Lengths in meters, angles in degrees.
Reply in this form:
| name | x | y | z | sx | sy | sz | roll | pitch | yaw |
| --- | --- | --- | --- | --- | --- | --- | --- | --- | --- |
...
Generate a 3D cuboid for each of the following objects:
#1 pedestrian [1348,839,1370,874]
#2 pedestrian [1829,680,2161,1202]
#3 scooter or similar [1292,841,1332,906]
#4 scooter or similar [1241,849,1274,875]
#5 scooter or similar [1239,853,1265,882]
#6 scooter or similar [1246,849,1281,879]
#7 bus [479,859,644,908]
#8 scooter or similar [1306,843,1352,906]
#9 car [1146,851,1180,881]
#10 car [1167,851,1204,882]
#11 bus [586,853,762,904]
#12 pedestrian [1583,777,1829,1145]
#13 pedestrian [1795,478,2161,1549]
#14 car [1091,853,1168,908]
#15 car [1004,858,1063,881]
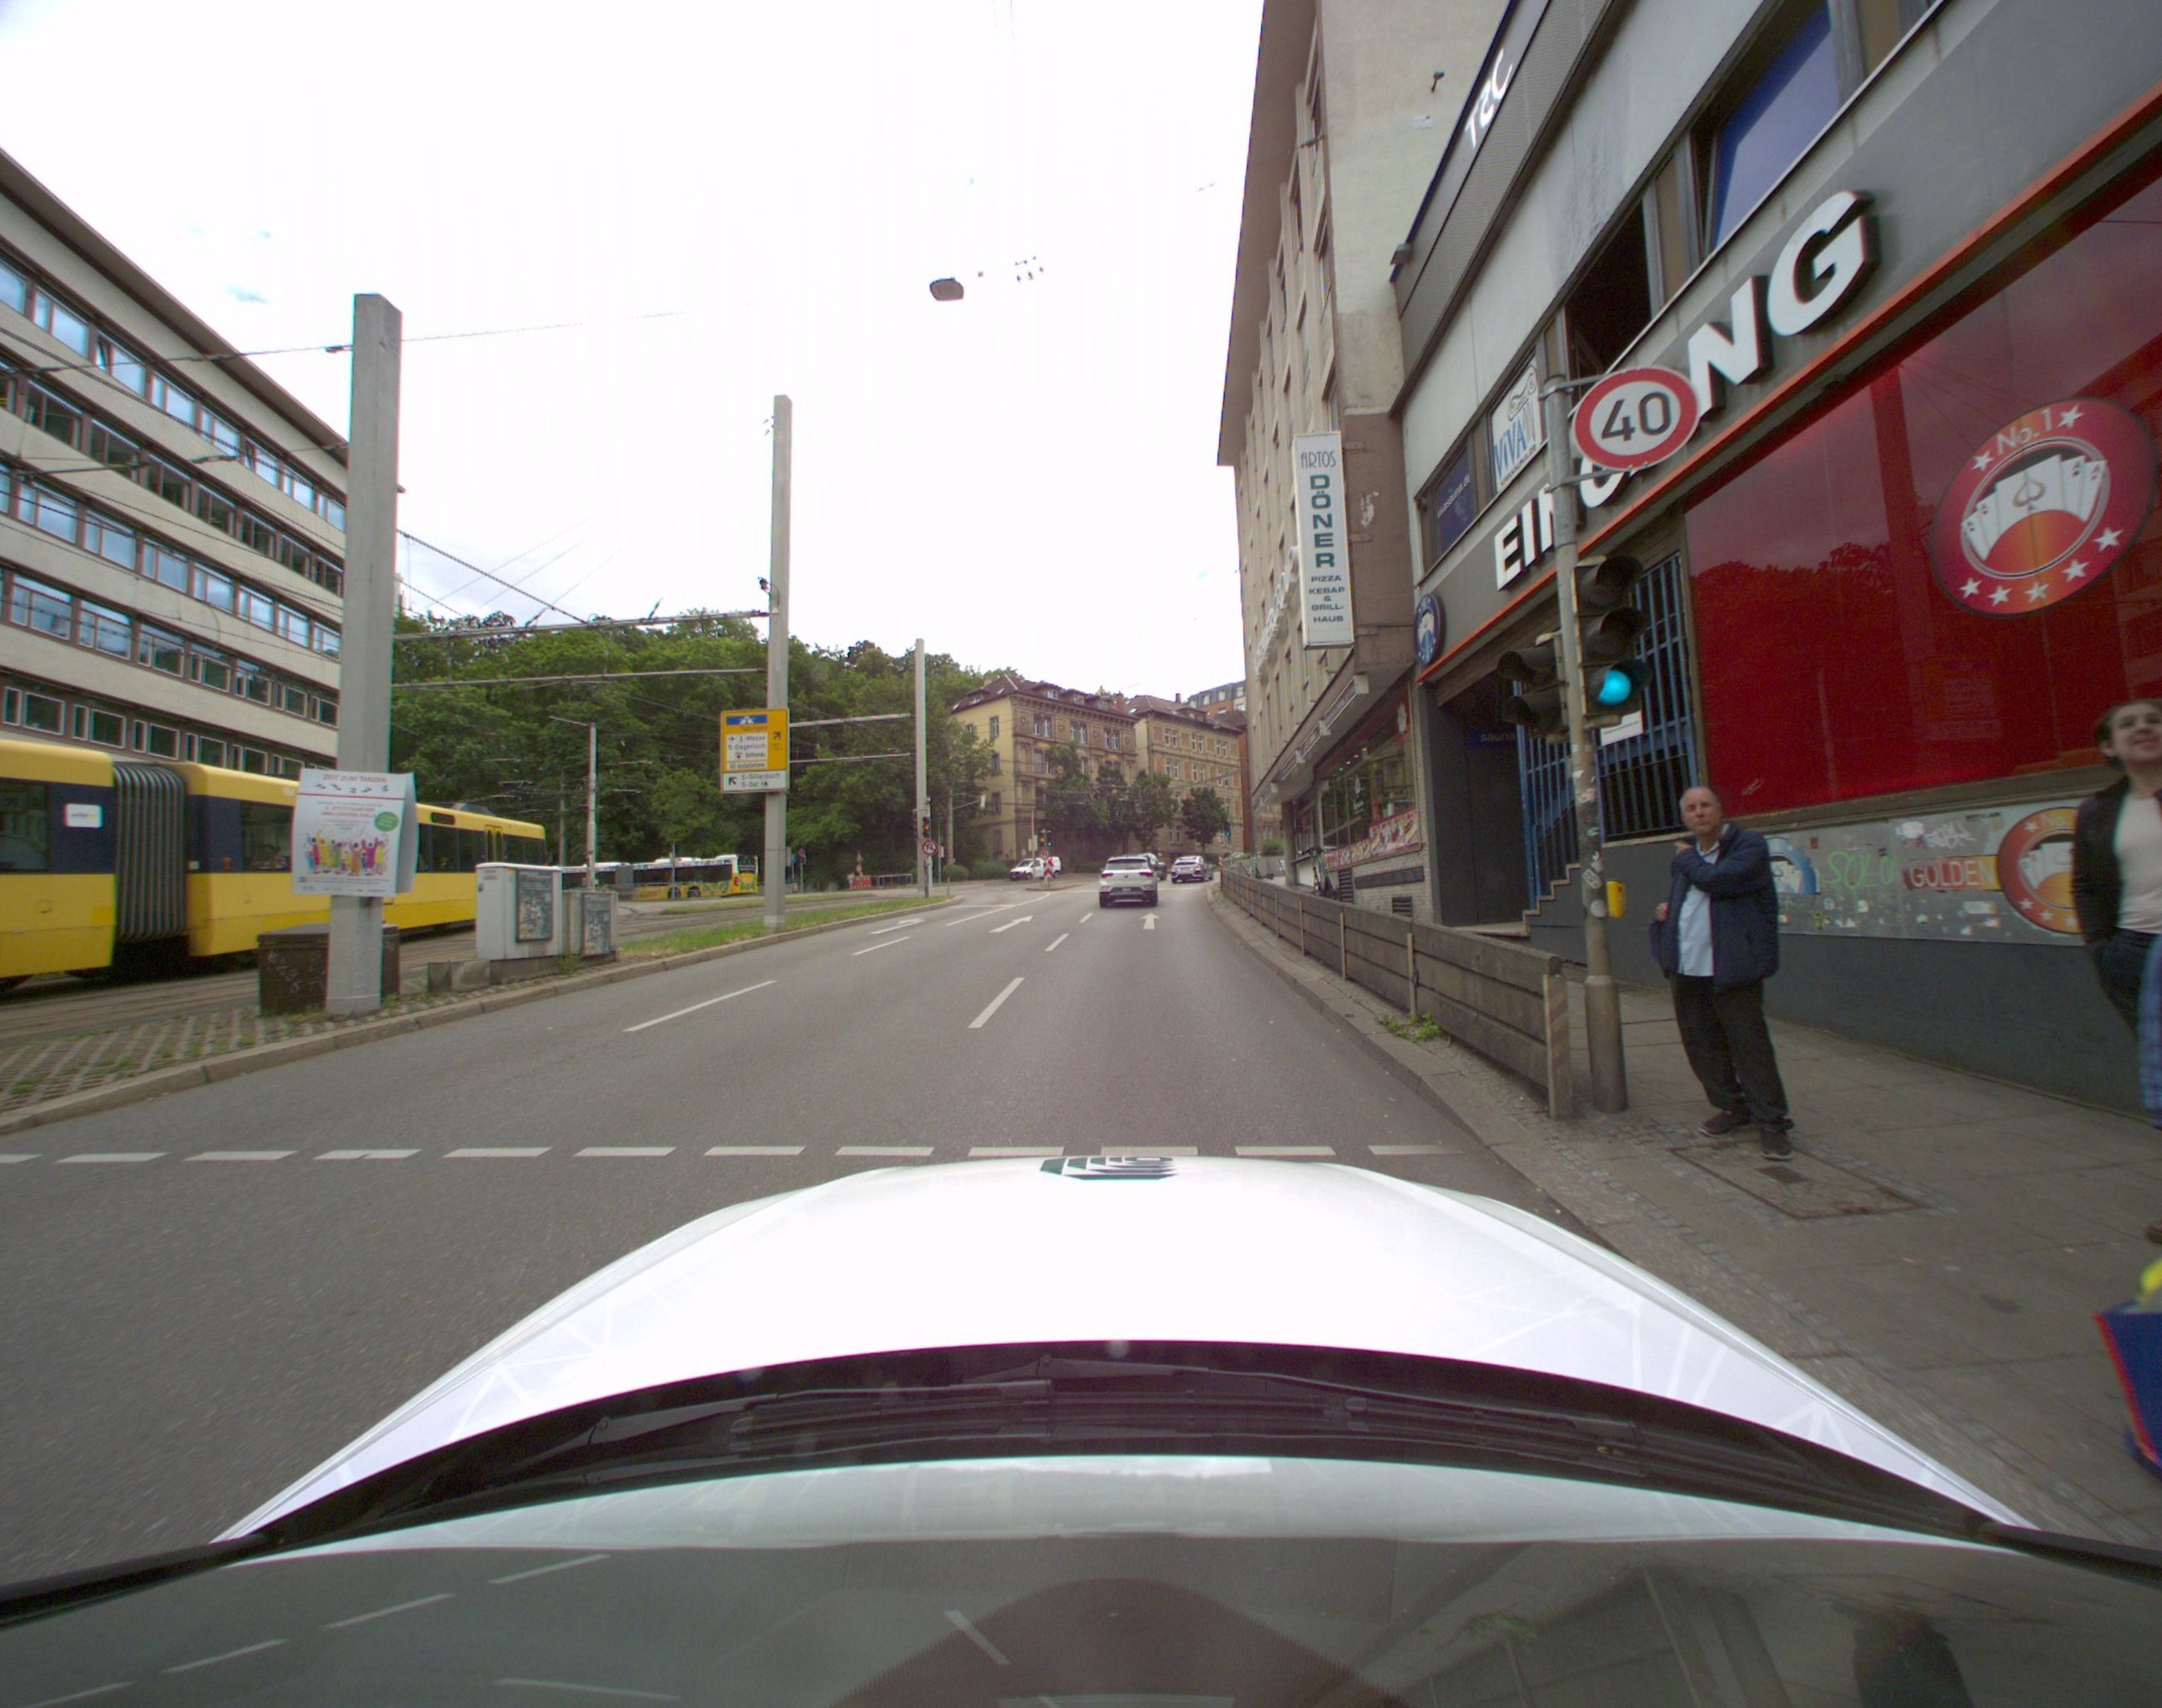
| name | x | y | z | sx | sy | sz | roll | pitch | yaw |
| --- | --- | --- | --- | --- | --- | --- | --- | --- | --- |
| pedestrian | 15.184 | 0.128 | 44.434 | 0.826 | 1.810 | 1.158 | 5 | 3 | 29 |
| pedestrian | 3.756 | 0.307 | 3.244 | 0.724 | 1.808 | 0.654 | -7 | -1 | 3 |
| scooter or similar | 5.441 | 0.448 | 19.222 | 0.664 | 1.475 | 1.180 | -2 | -1 | 6 |
| scooter or similar | 8.248 | 0.380 | 38.073 | 1.448 | 1.182 | 0.578 | -1 | -2 | -25 |
| scooter or similar | 7.315 | 0.580 | 34.835 | 1.012 | 1.182 | 0.373 | -2 | -1 | -25 |
| scooter or similar | 8.182 | 0.435 | 36.471 | 1.448 | 1.254 | 0.552 | -4 | 0 | -25 |
| bus | -38.235 | 2.179 | 59.999 | 11.242 | 3.043 | 3.337 | -3 | -1 | 14 |
| scooter or similar | 5.172 | 0.414 | 17.033 | 0.627 | 1.249 | 1.335 | -2 | -1 | 6 |
| car | 5.129 | 0.695 | 50.432 | 1.829 | 1.739 | 4.010 | -2 | 0 | 9 |
| car | 5.702 | 0.688 | 44.636 | 1.893 | 1.574 | 3.841 | -1 | -1 | 6 |
| bus | -28.822 | 1.699 | 57.760 | 11.432 | 3.029 | 3.402 | -3 | -1 | 12 |
| pedestrian | 3.092 | 0.500 | 4.093 | 0.560 | 1.651 | 0.591 | -8 | -1 | 2 |
| pedestrian | 2.514 | 0.306 | 1.798 | 0.943 | 2.062 | 0.779 | -7 | -1 | 3 |
| car | 1.645 | 0.802 | 26.227 | 1.926 | 1.566 | 4.057 | -3 | -1 | 10 |
| car | -3.960 | 1.292 | 69.163 | 1.974 | 1.850 | 5.023 | -4 | -2 | 42 |
